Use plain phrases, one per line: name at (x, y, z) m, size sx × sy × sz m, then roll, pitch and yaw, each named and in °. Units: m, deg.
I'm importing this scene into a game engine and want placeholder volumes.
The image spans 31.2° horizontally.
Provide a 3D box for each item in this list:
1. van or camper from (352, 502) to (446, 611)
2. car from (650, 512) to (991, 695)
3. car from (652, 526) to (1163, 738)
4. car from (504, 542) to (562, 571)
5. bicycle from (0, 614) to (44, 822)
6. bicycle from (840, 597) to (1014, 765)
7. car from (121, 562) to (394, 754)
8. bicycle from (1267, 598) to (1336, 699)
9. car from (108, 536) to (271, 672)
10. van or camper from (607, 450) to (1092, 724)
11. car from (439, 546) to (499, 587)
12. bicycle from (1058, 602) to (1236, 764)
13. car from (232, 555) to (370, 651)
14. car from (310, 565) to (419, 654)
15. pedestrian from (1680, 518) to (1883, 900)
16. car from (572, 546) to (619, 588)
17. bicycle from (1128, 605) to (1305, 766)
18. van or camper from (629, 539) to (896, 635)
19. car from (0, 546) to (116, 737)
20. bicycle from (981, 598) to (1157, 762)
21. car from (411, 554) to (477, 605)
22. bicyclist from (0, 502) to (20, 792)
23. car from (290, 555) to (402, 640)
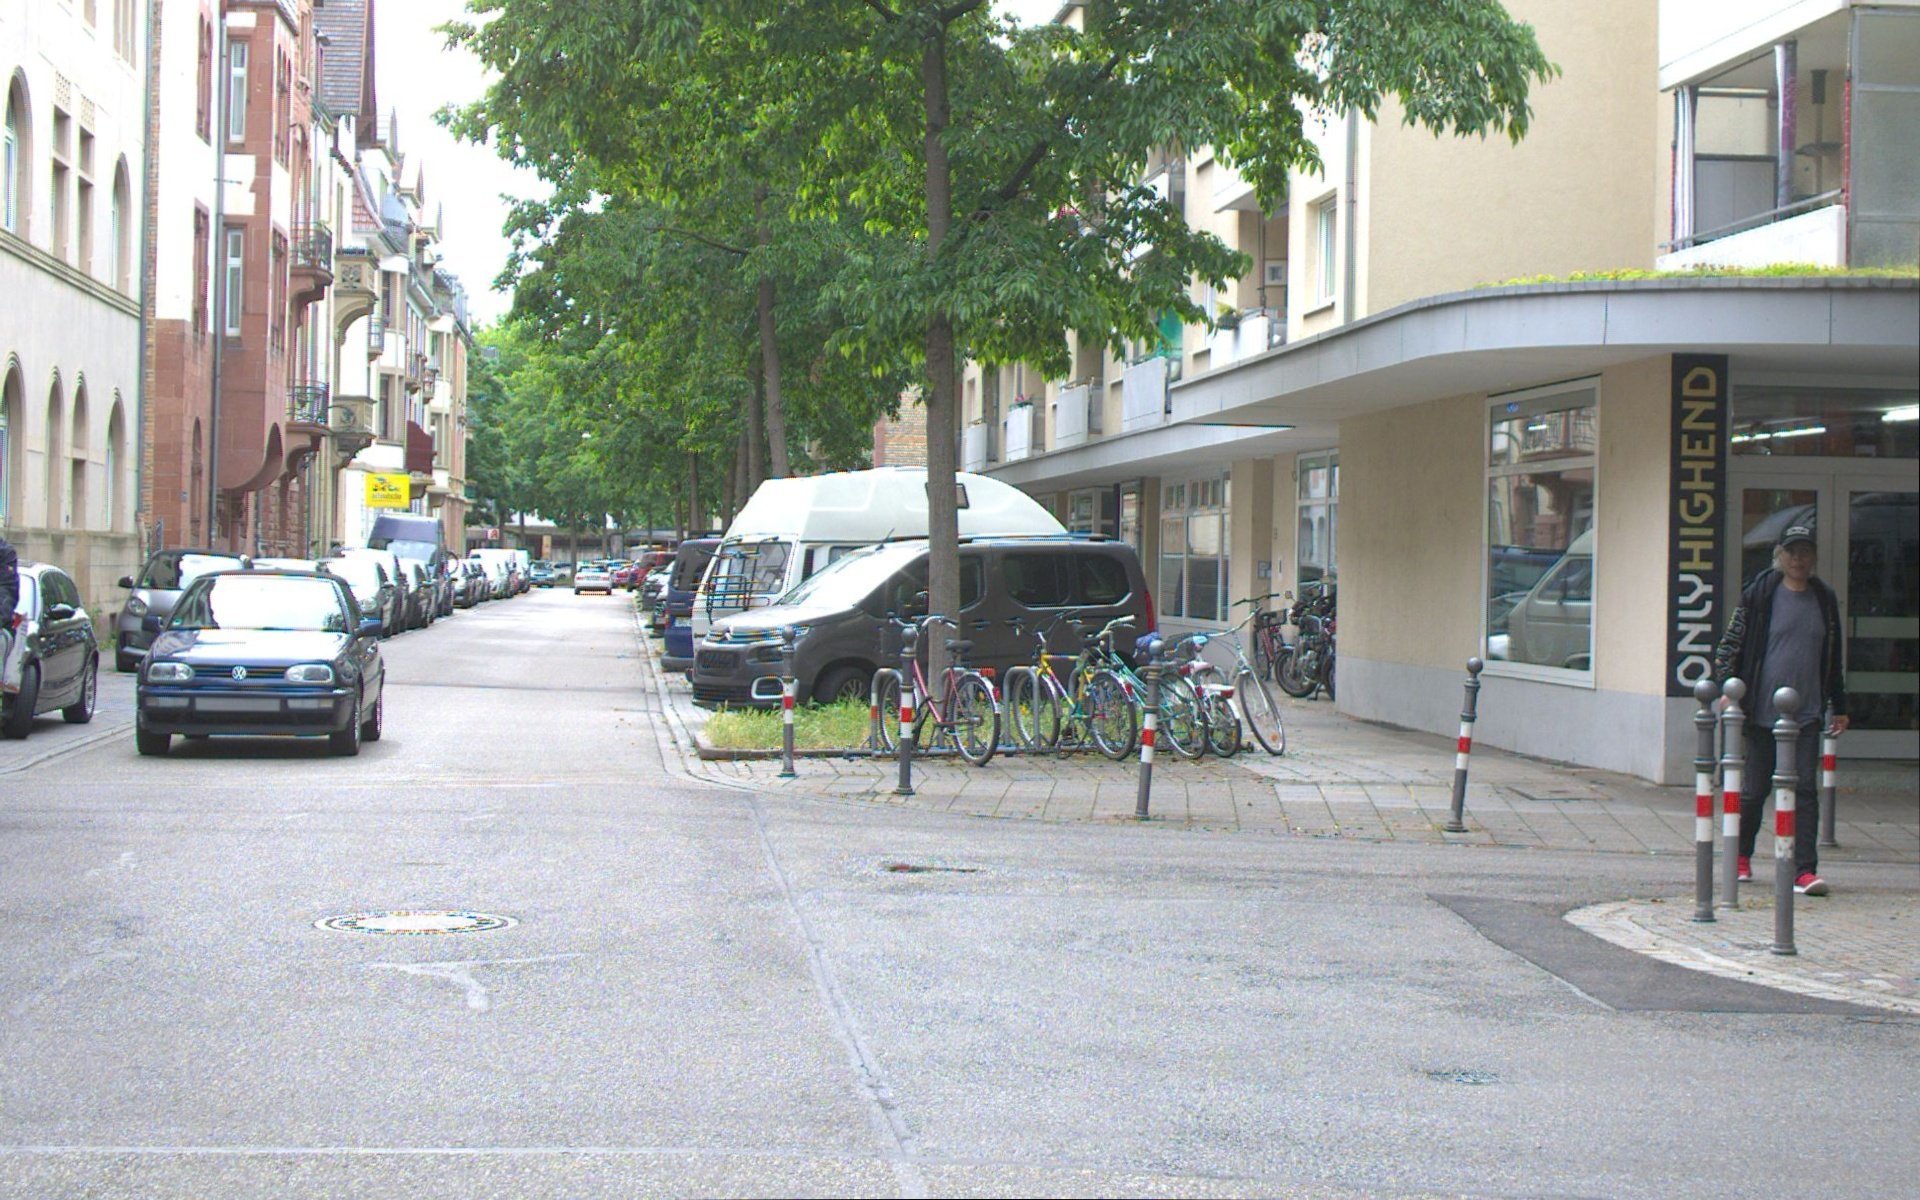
van or camper at (-14.527, -1.164, 89.217) m, size 2.008 × 2.642 × 5.317 m, roll 1°, pitch 2°, yaw -5°
car at (-1.709, 0.030, 43.634) m, size 2.064 × 2.189 × 4.390 m, roll 2°, pitch 1°, yaw 34°
car at (-0.466, 0.287, 31.891) m, size 4.331 × 1.848 × 1.911 m, roll 1°, pitch 1°, yaw -30°
car at (-25.059, -2.556, 201.677) m, size 1.821 × 1.639 × 3.753 m, roll 3°, pitch -1°, yaw -33°
bicycle at (-5.390, 0.624, 18.286) m, size 0.633 × 1.090 × 1.799 m, roll 1°, pitch 0°, yaw -3°
bicycle at (-0.262, 0.581, 25.441) m, size 0.548 × 1.169 × 1.729 m, roll 1°, pitch 1°, yaw -27°
car at (-5.525, 0.444, 27.422) m, size 1.708 × 1.408 × 3.853 m, roll 1°, pitch 0°, yaw -5°
bicycle at (3.841, 0.538, 38.713) m, size 0.484 × 1.086 × 1.701 m, roll 1°, pitch 1°, yaw -3°
car at (-9.749, 0.022, 43.672) m, size 1.646 × 1.565 × 2.957 m, roll 3°, pitch 1°, yaw -6°
van or camper at (-1.066, -0.122, 34.553) m, size 4.583 × 2.587 × 1.910 m, roll 1°, pitch 1°, yaw -38°
car at (-18.307, -1.268, 128.331) m, size 1.993 × 1.470 × 4.001 m, roll 1°, pitch 1°, yaw -6°
bicycle at (1.424, 0.621, 26.448) m, size 0.548 × 1.169 × 1.729 m, roll 1°, pitch 1°, yaw -27°
car at (-10.443, 0.024, 54.689) m, size 1.726 × 1.382 × 4.138 m, roll 3°, pitch 1°, yaw -6°
car at (-11.998, 0.169, 69.494) m, size 1.786 × 1.641 × 4.362 m, roll 3°, pitch 1°, yaw -6°
pedestrian at (3.955, 0.516, 16.585) m, size 0.779 × 1.791 × 0.509 m, roll 2°, pitch 1°, yaw -3°
car at (-16.914, -1.521, 159.563) m, size 1.993 × 1.788 × 4.000 m, roll 3°, pitch -1°, yaw -5°
bicycle at (1.981, 0.650, 26.771) m, size 0.548 × 1.169 × 1.698 m, roll 1°, pitch 1°, yaw -27°
van or camper at (-4.004, -0.280, 69.912) m, size 5.006 × 1.863 × 2.127 m, roll -1°, pitch 1°, yaw -33°
car at (-8.351, 0.305, 28.935) m, size 1.709 × 1.489 × 4.000 m, roll 3°, pitch -1°, yaw -4°
bicycle at (0.810, 0.589, 26.124) m, size 0.548 × 1.169 × 1.729 m, roll 1°, pitch 1°, yaw -27°
car at (-15.873, -0.653, 105.814) m, size 1.789 × 1.475 × 4.023 m, roll 2°, pitch 0°, yaw -6°
bicyclist at (-5.400, 0.245, 18.268) m, size 0.647 × 1.533 × 0.677 m, roll 0°, pitch 0°, yaw -3°
car at (-11.248, -0.069, 63.147) m, size 1.662 × 1.416 × 3.930 m, roll 3°, pitch 1°, yaw -6°
